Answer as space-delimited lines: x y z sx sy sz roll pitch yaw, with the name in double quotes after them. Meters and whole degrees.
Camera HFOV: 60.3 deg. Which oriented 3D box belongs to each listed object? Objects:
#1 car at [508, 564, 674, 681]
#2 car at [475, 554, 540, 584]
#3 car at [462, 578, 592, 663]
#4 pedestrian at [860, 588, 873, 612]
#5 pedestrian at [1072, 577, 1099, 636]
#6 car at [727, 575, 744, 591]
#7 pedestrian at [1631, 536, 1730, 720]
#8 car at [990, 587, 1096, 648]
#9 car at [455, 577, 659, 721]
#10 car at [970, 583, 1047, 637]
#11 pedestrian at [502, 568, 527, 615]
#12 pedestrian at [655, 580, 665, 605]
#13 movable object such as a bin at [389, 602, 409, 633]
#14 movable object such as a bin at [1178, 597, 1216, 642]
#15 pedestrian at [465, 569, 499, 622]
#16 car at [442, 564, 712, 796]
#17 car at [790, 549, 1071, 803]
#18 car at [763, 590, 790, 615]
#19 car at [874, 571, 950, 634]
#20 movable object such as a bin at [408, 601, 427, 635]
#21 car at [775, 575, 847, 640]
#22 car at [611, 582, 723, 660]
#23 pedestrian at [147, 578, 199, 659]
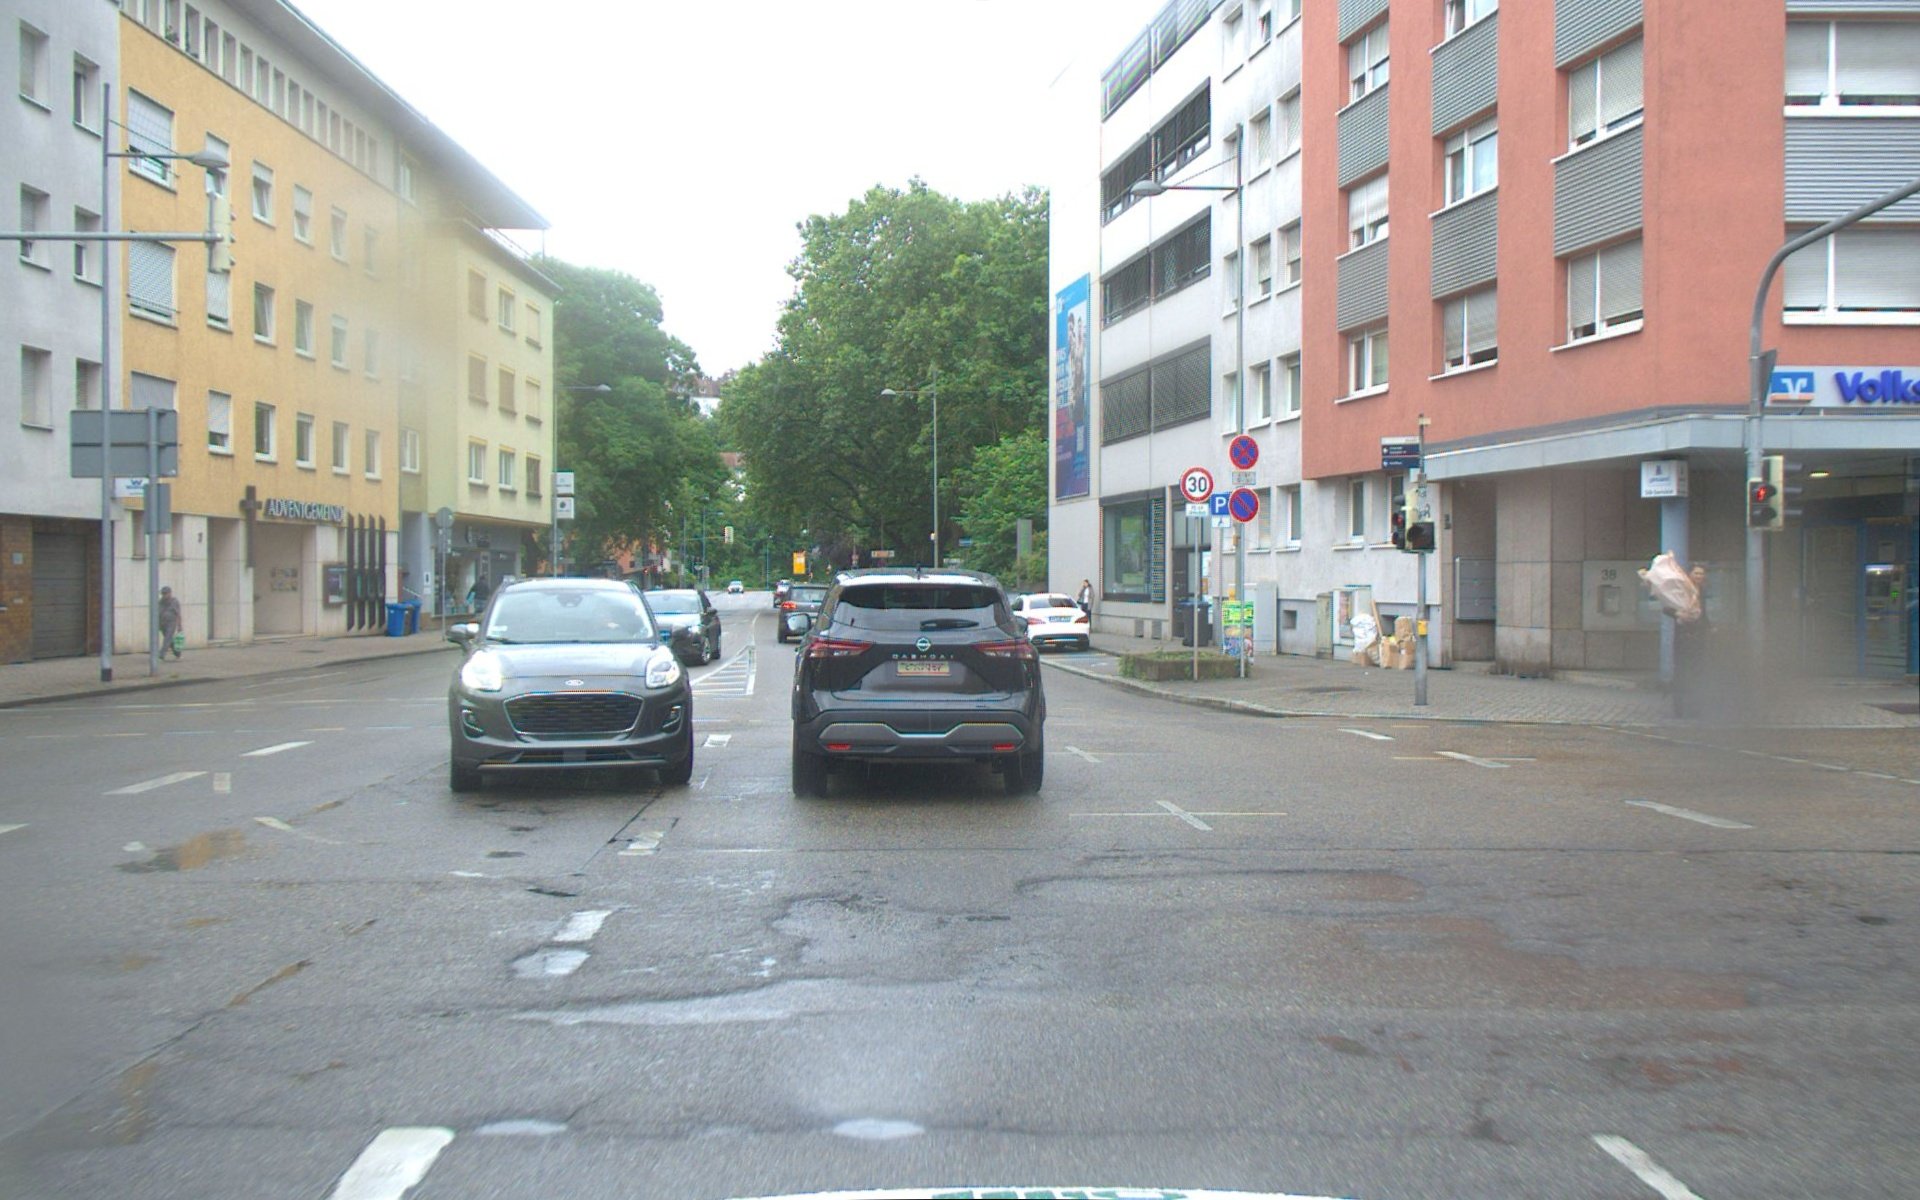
-5.594 0.348 25.582 1.784 1.636 4.428 0 -1 -3 "car"
-28.995 -1.975 106.064 3.762 1.764 1.876 2 0 -9 "car"
-9.072 0.431 34.979 1.784 1.668 4.370 0 -1 -3 "car"
-7.194 0.017 127.272 0.709 1.822 0.665 2 0 41 "pedestrian"
3.843 0.196 50.748 0.602 1.767 0.679 -2 0 -14 "pedestrian"
-27.052 -2.009 199.117 1.786 1.827 3.861 2 0 -6 "car"
8.843 0.332 20.330 0.808 2.196 0.769 2 0 -1 "pedestrian"
2.049 0.408 42.131 1.742 1.425 4.570 -2 1 -9 "car"
-4.756 0.554 20.083 1.897 1.553 4.128 0 -1 -7 "car"
1.387 0.277 48.596 1.682 1.467 4.076 -2 1 -6 "car"
-16.531 -0.315 61.417 0.783 1.718 0.816 0 0 -8 "pedestrian"
-22.214 -0.570 122.435 0.655 1.822 0.719 2 0 -14 "pedestrian"
-16.849 0.522 49.671 0.444 0.946 0.502 0 0 0 "movable object such as a bin"
5.782 0.477 40.404 0.700 1.087 0.781 0 0 -13 "movable object such as a bin"
-16.759 -0.164 57.987 0.848 1.819 0.875 2 0 -1 "pedestrian"
-3.131 0.505 13.522 1.824 1.580 4.212 0 1 -14 "car"
-0.386 0.464 12.884 1.858 1.657 3.995 0 1 -6 "car"
-12.710 0.144 114.613 1.786 1.640 3.860 2 0 -6 "car"
-1.558 0.100 52.486 1.909 1.848 3.992 -2 0 -8 "car"
-17.013 0.562 51.871 0.391 1.024 0.545 0 0 0 "movable object such as a bin"
-4.234 0.211 46.891 1.908 1.714 3.995 -2 0 -6 "car"
-5.853 0.427 33.459 1.785 1.458 4.394 0 -1 -4 "car"
-16.022 0.374 33.693 0.673 1.609 0.652 2 0 0 "pedestrian"
